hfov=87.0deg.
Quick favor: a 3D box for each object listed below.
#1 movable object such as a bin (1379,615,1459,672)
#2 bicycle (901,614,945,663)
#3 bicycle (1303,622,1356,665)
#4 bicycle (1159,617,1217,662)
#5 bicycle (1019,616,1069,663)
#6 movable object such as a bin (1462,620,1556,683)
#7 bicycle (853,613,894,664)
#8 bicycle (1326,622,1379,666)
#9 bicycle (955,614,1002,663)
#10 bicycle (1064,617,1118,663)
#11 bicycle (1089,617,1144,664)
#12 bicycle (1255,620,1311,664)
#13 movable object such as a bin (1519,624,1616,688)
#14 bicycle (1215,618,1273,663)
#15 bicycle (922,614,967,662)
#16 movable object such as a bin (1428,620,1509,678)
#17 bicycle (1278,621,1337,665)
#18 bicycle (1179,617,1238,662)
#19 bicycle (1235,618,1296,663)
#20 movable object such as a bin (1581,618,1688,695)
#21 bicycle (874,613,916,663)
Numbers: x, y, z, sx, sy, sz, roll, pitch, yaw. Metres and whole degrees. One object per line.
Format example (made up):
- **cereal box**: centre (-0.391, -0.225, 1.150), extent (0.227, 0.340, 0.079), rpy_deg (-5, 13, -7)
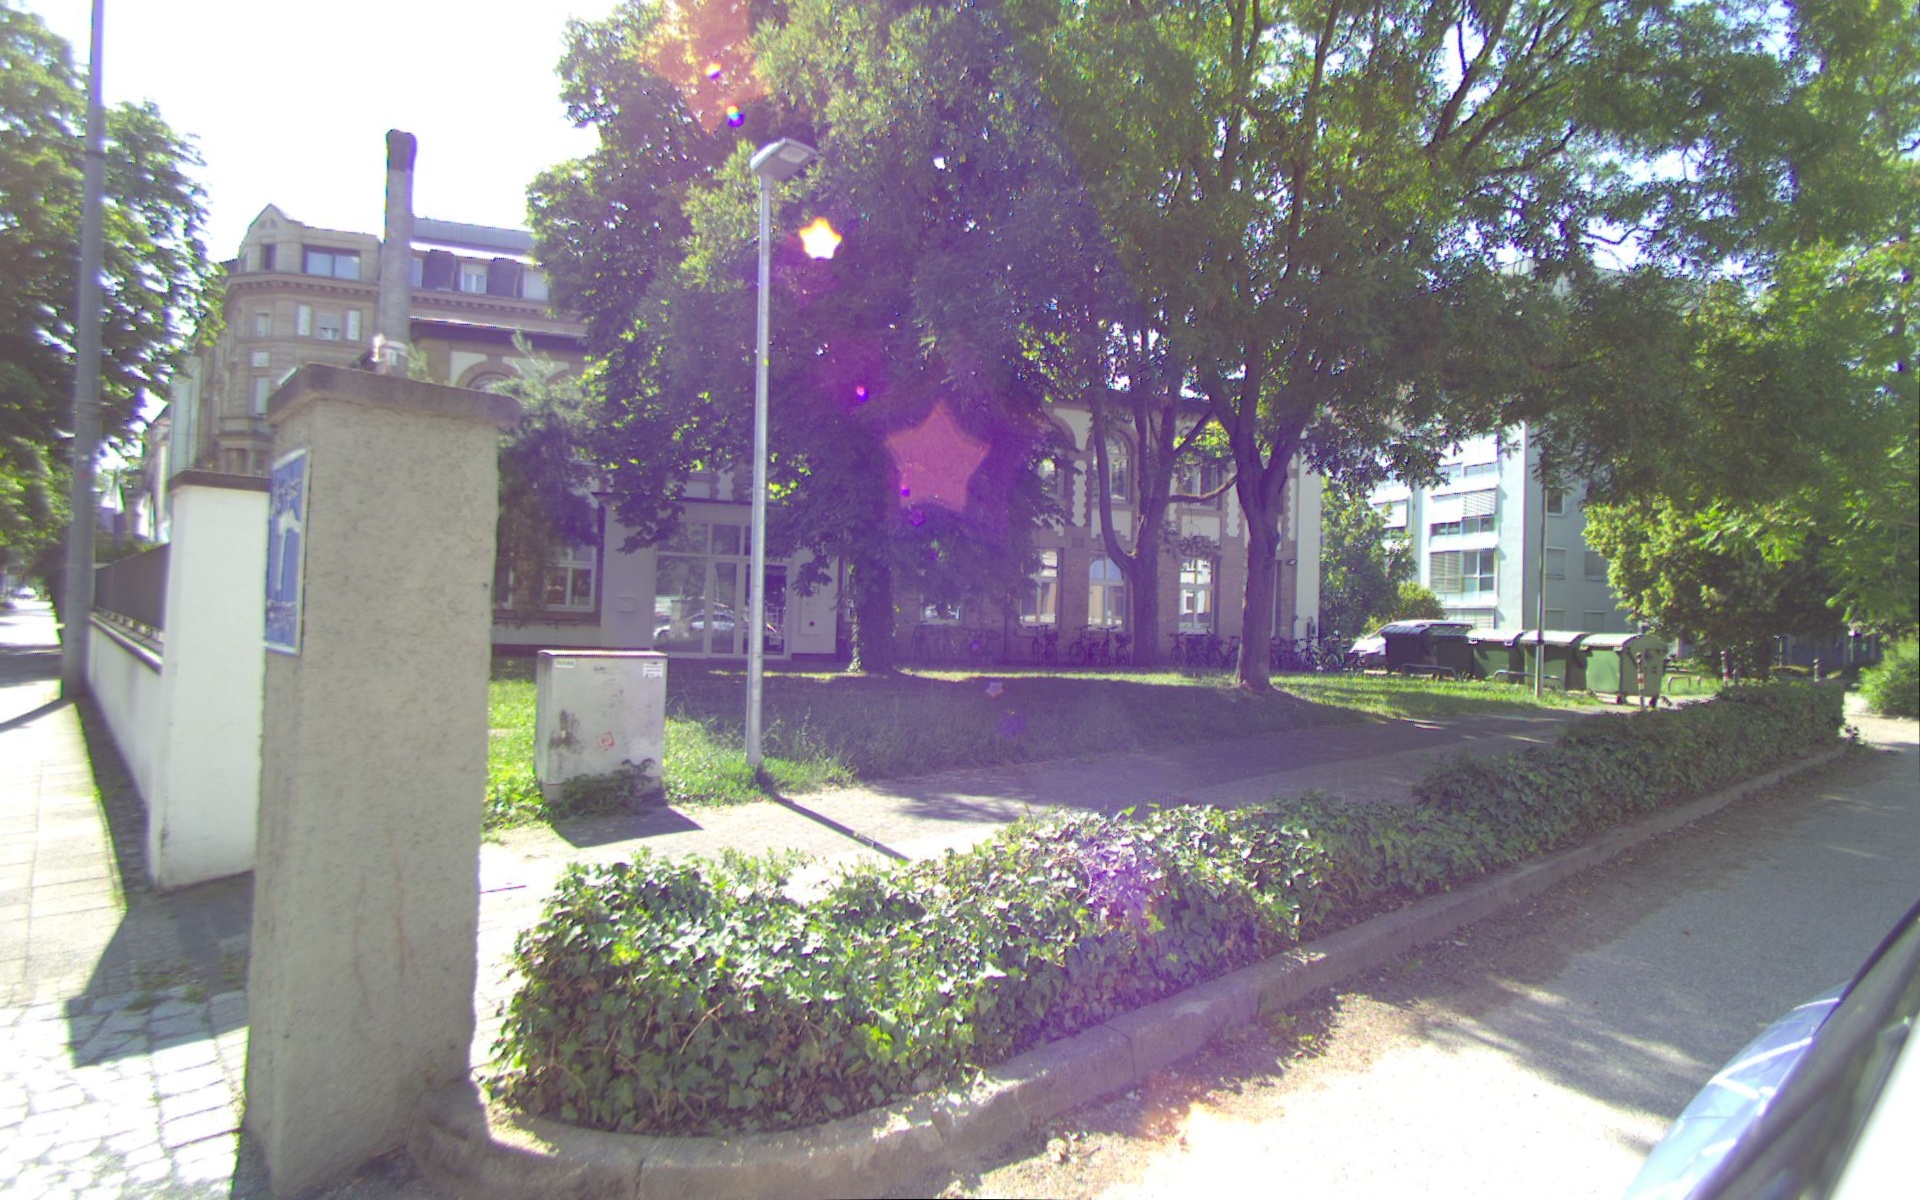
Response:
- **movable object such as a bin**: centre (12.024, 1.132, 26.545), extent (1.224, 1.427, 1.439), rpy_deg (2, -1, -21)
- **bicycle**: centre (-0.975, 0.956, 25.822), extent (0.575, 1.176, 2.107), rpy_deg (2, -1, -17)
- **bicycle**: centre (10.579, 1.226, 29.031), extent (0.496, 1.176, 1.808), rpy_deg (2, -1, -12)
- **bicycle**: centre (6.246, 1.067, 27.831), extent (0.575, 1.176, 2.107), rpy_deg (2, -1, -17)
- **bicycle**: centre (2.200, 1.025, 26.758), extent (0.575, 1.176, 2.107), rpy_deg (2, -1, -17)
- **movable object such as a bin**: centre (12.742, 1.183, 23.536), extent (1.190, 1.379, 1.505), rpy_deg (2, -1, -20)
- **bicycle**: centre (-2.157, 0.929, 25.005), extent (0.575, 1.176, 2.107), rpy_deg (2, -1, -17)
- **bicycle**: centre (11.206, 1.247, 28.962), extent (0.546, 1.176, 1.947), rpy_deg (1, -1, -7)
- **bicycle**: centre (0.464, 0.981, 26.321), extent (0.575, 1.176, 2.107), rpy_deg (2, -1, -17)
- **bicycle**: centre (3.488, 1.048, 27.107), extent (0.575, 1.176, 2.107), rpy_deg (2, -1, -17)
- **bicycle**: centre (4.203, 1.073, 27.361), extent (0.575, 1.176, 2.107), rpy_deg (2, -1, -17)
- **bicycle**: centre (9.137, 1.161, 28.703), extent (0.484, 1.176, 1.918), rpy_deg (2, -1, -17)
- **movable object such as a bin**: centre (13.259, 1.209, 22.124), extent (1.190, 1.317, 1.358), rpy_deg (2, -1, -20)
- **bicycle**: centre (7.913, 1.122, 28.280), extent (0.575, 1.176, 1.925), rpy_deg (2, -1, -17)
- **bicycle**: centre (-0.428, 0.961, 26.118), extent (0.575, 1.176, 2.107), rpy_deg (2, -1, -17)
- **movable object such as a bin**: centre (12.580, 1.197, 25.068), extent (1.190, 1.366, 1.355), rpy_deg (2, -1, -20)
- **bicycle**: centre (9.928, 1.205, 28.997), extent (0.600, 1.176, 1.855), rpy_deg (2, -1, -17)
- **bicycle**: centre (6.857, 1.074, 28.074), extent (0.575, 1.176, 2.107), rpy_deg (2, -1, -17)
- **bicycle**: centre (8.594, 1.127, 28.561), extent (0.575, 1.176, 2.107), rpy_deg (2, -1, -17)
- **movable object such as a bin**: centre (13.769, 1.126, 20.709), extent (1.191, 1.481, 1.393), rpy_deg (1, -1, -5)
- **bicycle**: centre (-1.671, 0.940, 25.615), extent (0.575, 1.176, 2.107), rpy_deg (2, -1, -17)
